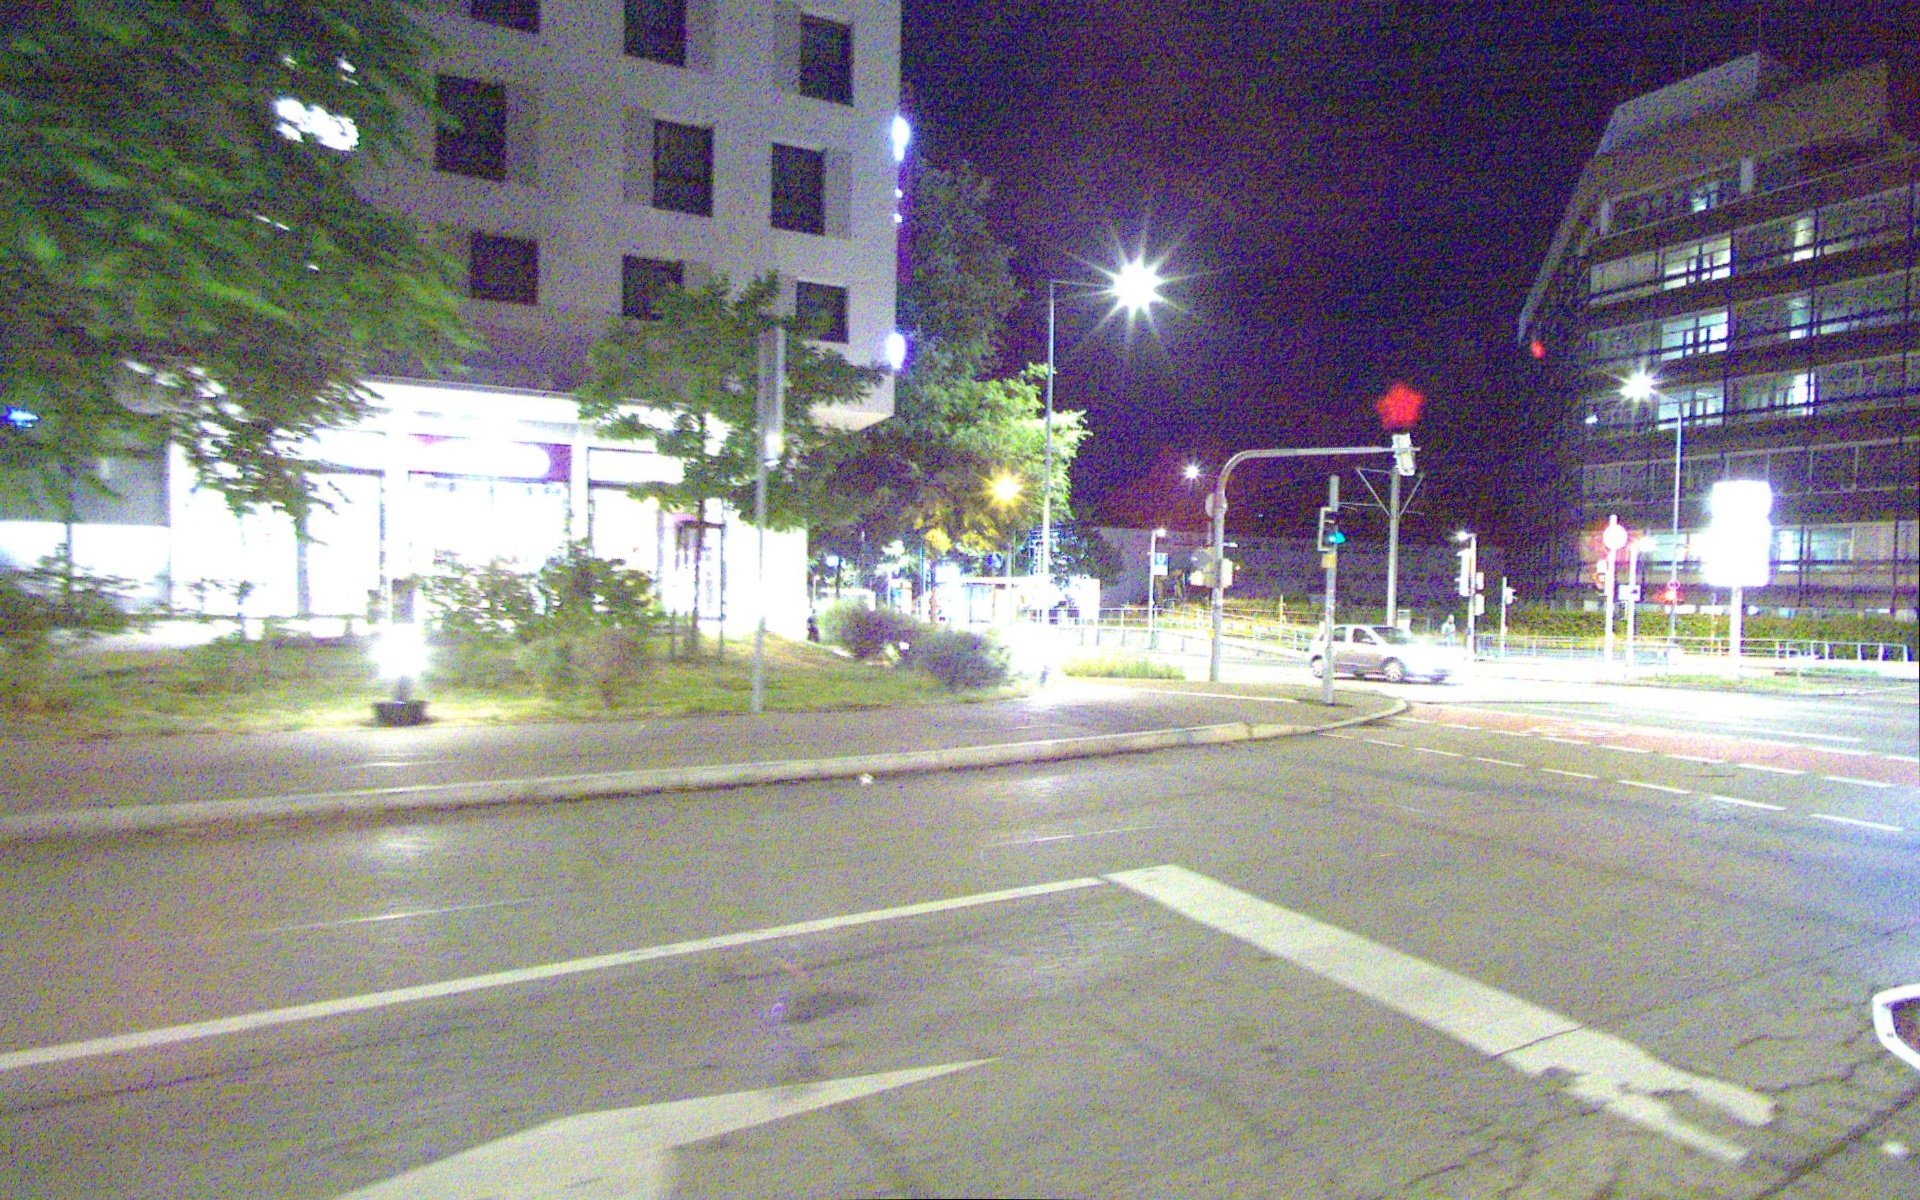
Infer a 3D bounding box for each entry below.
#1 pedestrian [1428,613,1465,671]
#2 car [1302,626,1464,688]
[{"bbox_3d":[14.937,1.287,30.844,0.669,1.745,0.703,2,0,-22],"label":"pedestrian"},{"bbox_3d":[10.686,1.401,25.650,1.621,1.439,3.676,0,-2,-25],"label":"car"}]
